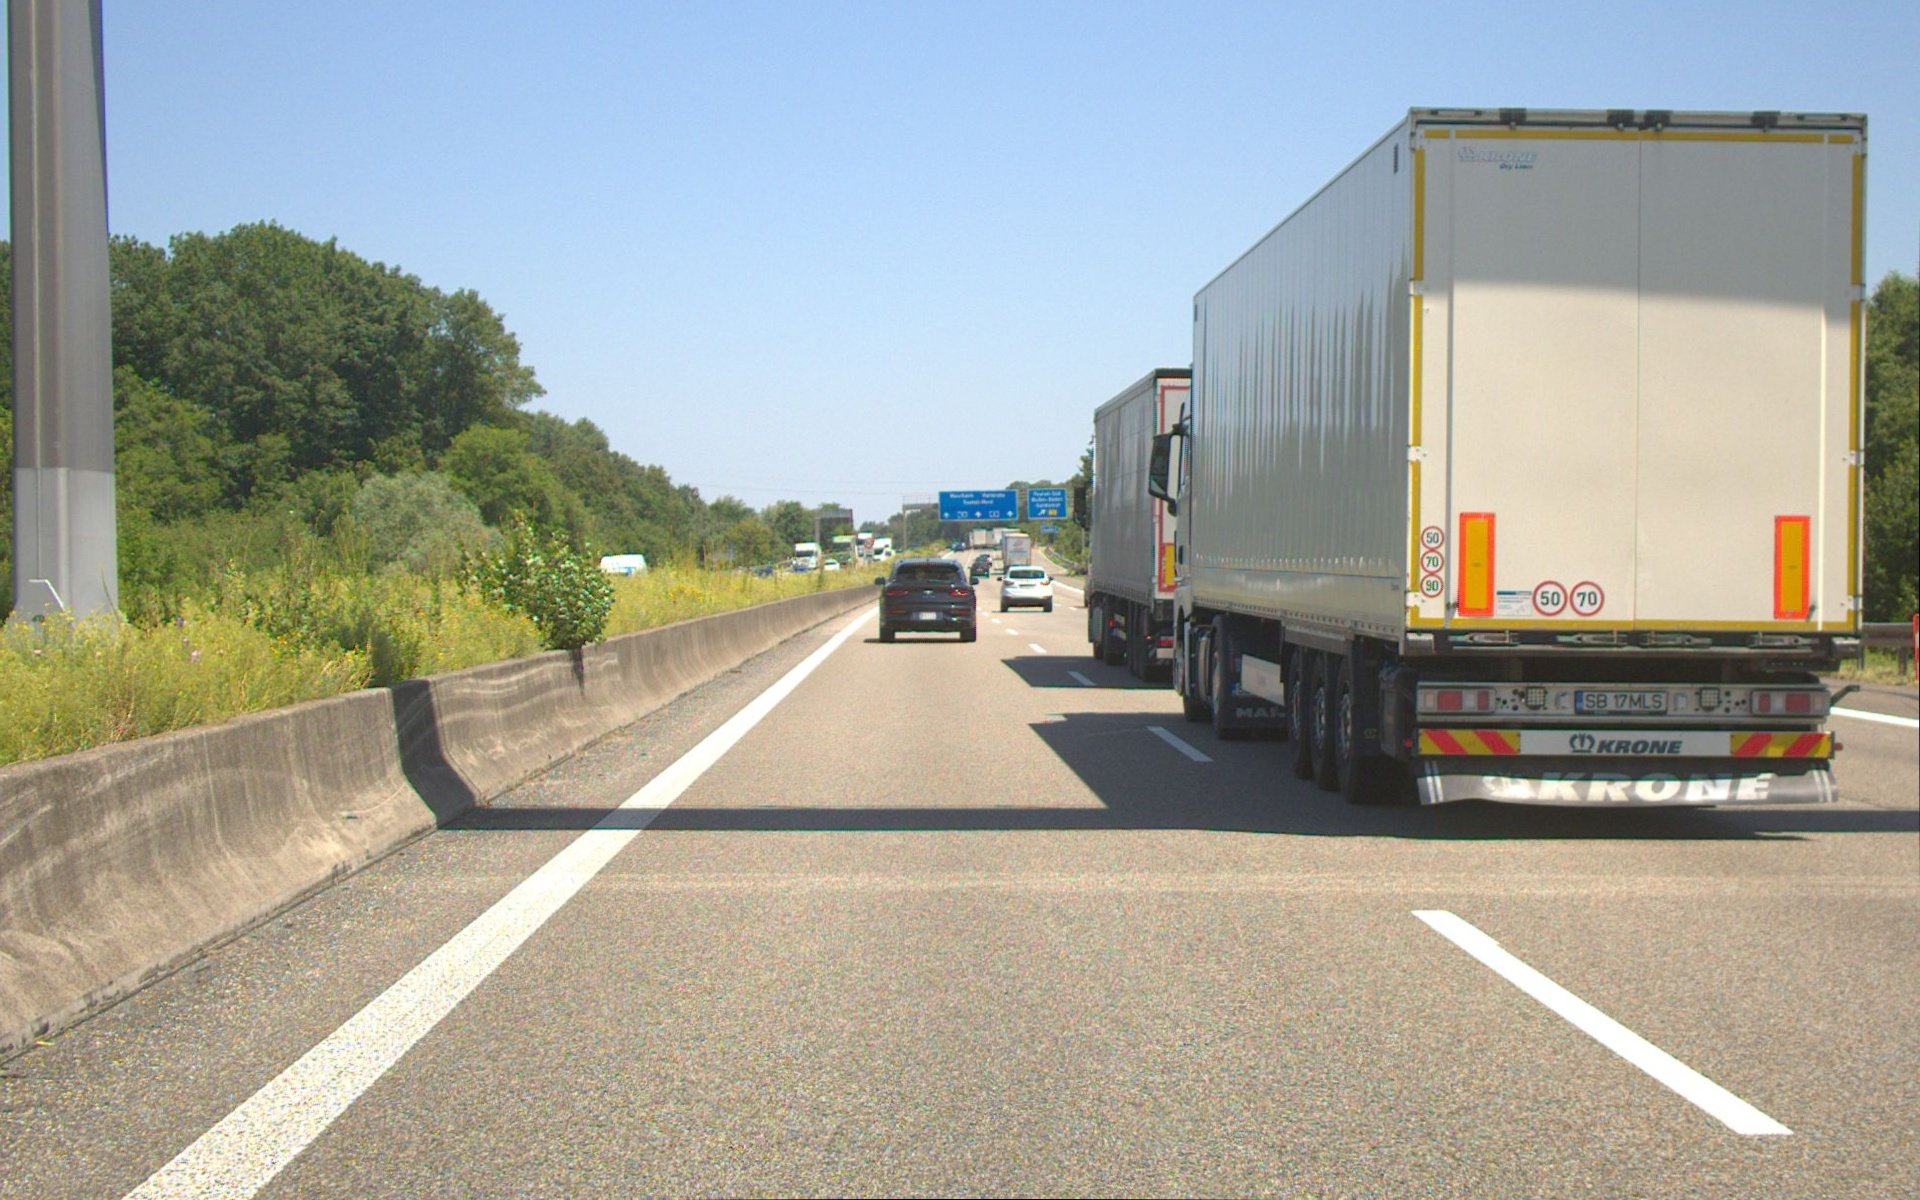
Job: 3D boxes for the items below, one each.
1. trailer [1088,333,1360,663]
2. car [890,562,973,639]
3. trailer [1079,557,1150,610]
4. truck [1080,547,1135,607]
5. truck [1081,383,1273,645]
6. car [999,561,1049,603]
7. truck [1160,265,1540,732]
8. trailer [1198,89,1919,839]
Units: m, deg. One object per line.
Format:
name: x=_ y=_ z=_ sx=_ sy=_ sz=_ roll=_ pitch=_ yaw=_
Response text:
trailer: x=3.529 y=-1.296 z=49.788 sx=2.707 sy=4.054 sz=14.746 roll=0 pitch=0 yaw=0
car: x=-0.619 y=-0.005 z=71.493 sx=1.660 sy=1.544 sz=3.783 roll=0 pitch=0 yaw=-1
trailer: x=6.059 y=-0.674 z=135.633 sx=2.420 sy=2.007 sz=6.034 roll=0 pitch=1 yaw=-1
truck: x=6.023 y=-0.955 z=140.888 sx=1.993 sy=2.365 sz=4.645 roll=0 pitch=1 yaw=-1
truck: x=3.494 y=-1.357 z=56.744 sx=2.700 sy=4.080 sz=6.453 roll=0 pitch=0 yaw=0
car: x=2.295 y=-0.652 z=124.452 sx=1.740 sy=1.481 sz=4.000 roll=0 pitch=1 yaw=0
truck: x=3.513 y=-0.911 z=32.445 sx=2.799 sy=3.993 sz=6.021 roll=0 pitch=1 yaw=-1
trailer: x=3.647 y=-0.815 z=24.734 sx=2.794 sy=4.021 sz=12.568 roll=0 pitch=1 yaw=-1
